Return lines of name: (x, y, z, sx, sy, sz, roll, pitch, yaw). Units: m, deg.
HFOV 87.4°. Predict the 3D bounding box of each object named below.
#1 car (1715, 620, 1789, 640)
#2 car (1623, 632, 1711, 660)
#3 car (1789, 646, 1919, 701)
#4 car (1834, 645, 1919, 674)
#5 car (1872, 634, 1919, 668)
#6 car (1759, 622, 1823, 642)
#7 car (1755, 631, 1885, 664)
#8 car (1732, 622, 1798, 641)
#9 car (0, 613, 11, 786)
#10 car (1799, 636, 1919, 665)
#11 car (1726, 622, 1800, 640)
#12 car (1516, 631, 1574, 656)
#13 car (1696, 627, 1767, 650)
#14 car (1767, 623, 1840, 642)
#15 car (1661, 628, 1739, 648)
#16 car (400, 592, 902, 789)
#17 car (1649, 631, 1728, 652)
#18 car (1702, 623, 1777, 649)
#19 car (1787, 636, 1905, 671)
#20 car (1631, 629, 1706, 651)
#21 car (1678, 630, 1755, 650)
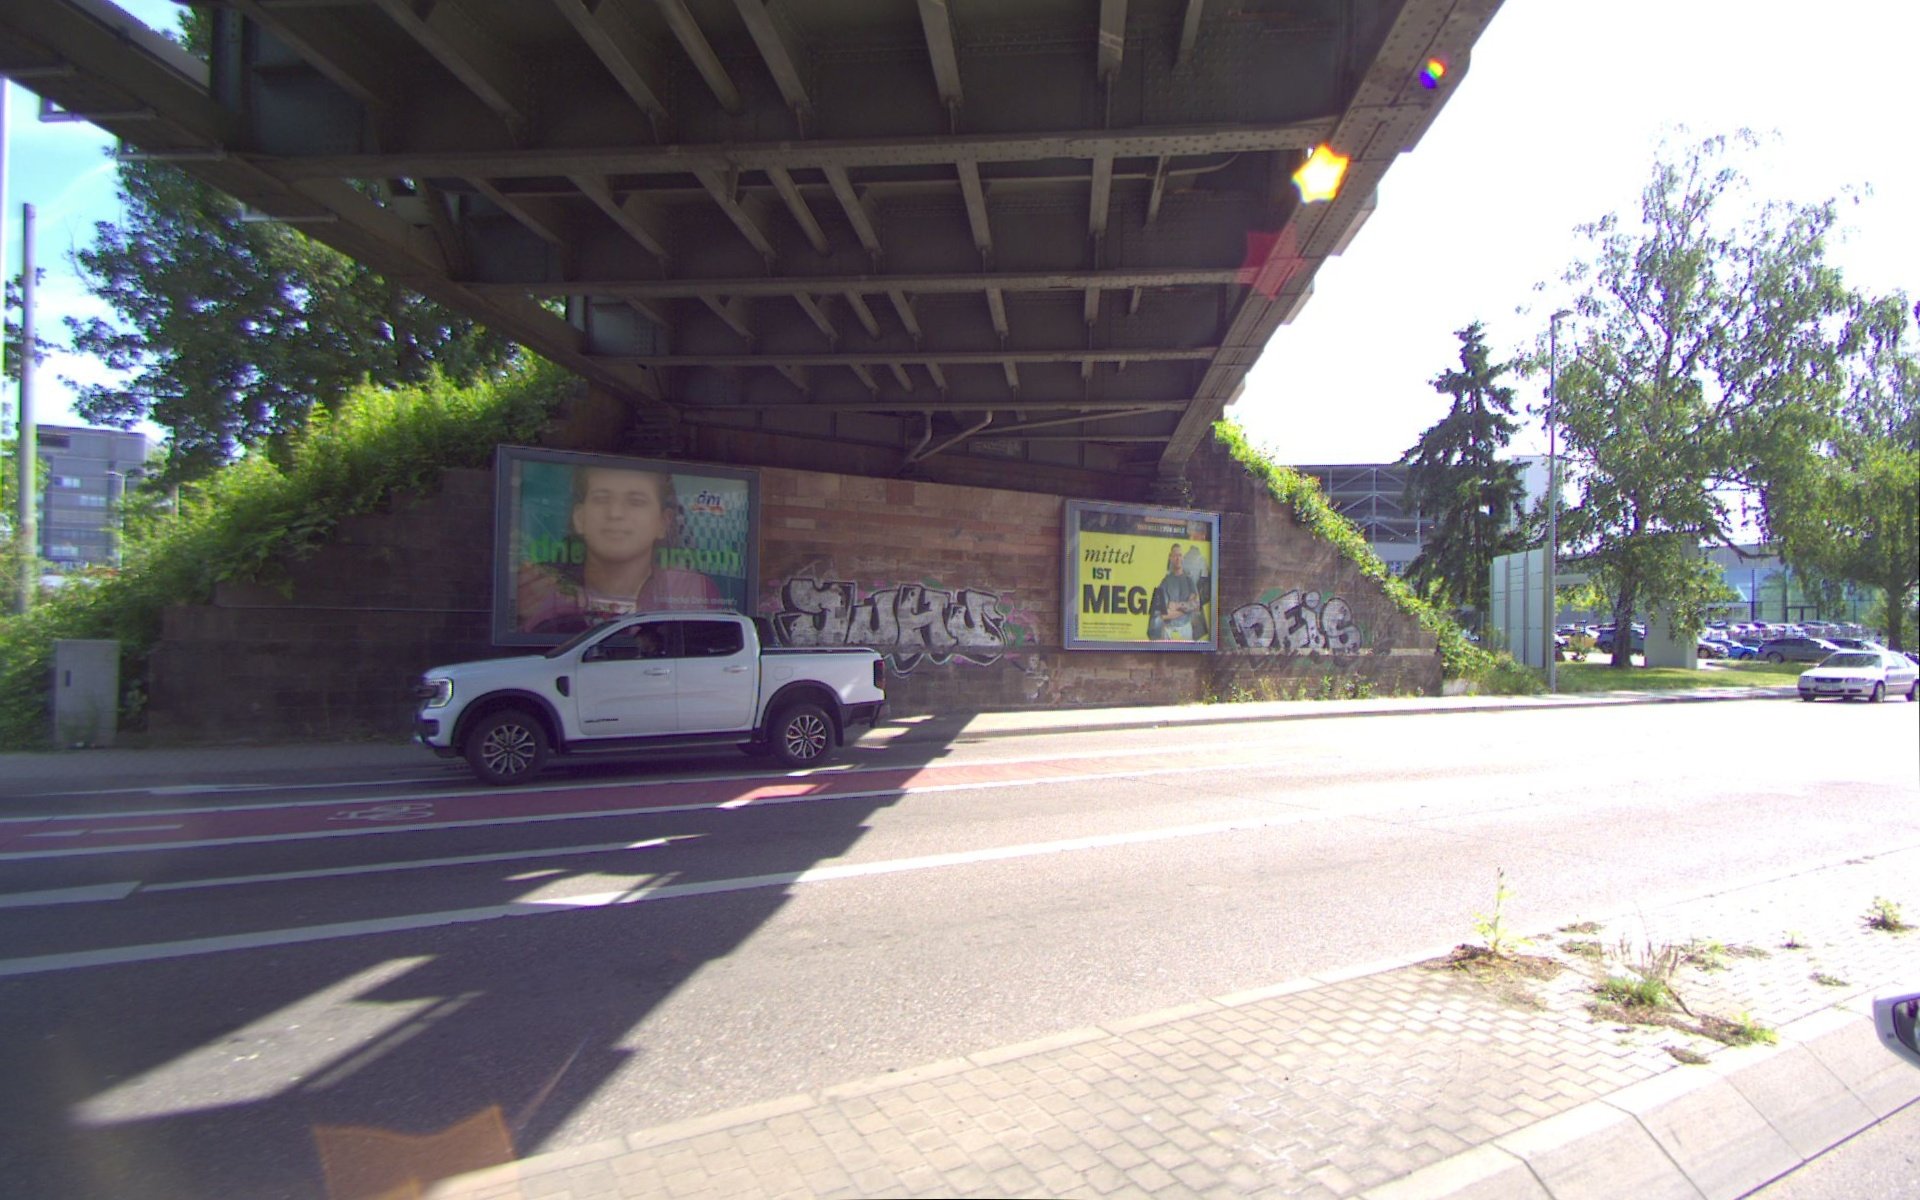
car: (65.850, 2.511, 83.622, 1.957, 1.571, 4.477, 2, -2, -31)
car: (45.380, 2.944, 64.551, 1.784, 1.585, 4.221, 2, 0, -30)
car: (24.859, 1.995, 27.740, 4.267, 1.406, 1.628, 2, -3, -30)
car: (50.703, 3.249, 55.194, 1.795, 1.389, 3.663, 2, -1, -29)
car: (57.187, 3.069, 59.358, 1.975, 1.900, 4.445, 2, 0, -28)
car: (72.149, 2.774, 87.219, 1.648, 1.515, 3.969, 2, 0, -29)
car: (43.793, 2.394, 51.281, 1.976, 1.408, 4.666, 2, -1, -29)
car: (68.510, 2.662, 85.547, 2.027, 1.515, 3.969, 2, -1, -29)
car: (-10.438, 0.844, 7.604, 4.336, 1.617, 1.864, 2, -2, -30)
car: (48.779, 2.713, 54.326, 1.976, 1.285, 4.829, 2, -1, -29)
car: (67.668, 2.619, 84.719, 1.957, 1.504, 4.477, 2, -2, -31)
car: (39.434, 2.915, 67.813, 1.628, 1.567, 4.037, 2, -1, 1)
car: (61.755, 3.086, 80.462, 1.646, 1.727, 4.247, 2, -2, -31)
car: (74.165, 2.846, 88.390, 1.962, 1.515, 4.499, 2, -1, -29)
car: (57.258, 2.921, 77.756, 1.957, 1.504, 4.477, 2, -2, -31)
car: (-3.519, 1.004, 11.898, 5.387, 1.885, 1.985, 2, -4, -30)
car: (55.422, 3.148, 76.515, 1.869, 1.437, 4.476, 2, -1, -31)
car: (63.684, 2.921, 82.125, 1.957, 1.988, 4.477, 2, -2, -31)
car: (45.909, 2.768, 52.139, 1.976, 1.567, 4.195, 2, 0, -29)
car: (52.830, 2.973, 74.971, 1.978, 1.496, 4.178, 2, -1, -32)
car: (59.392, 3.139, 78.948, 1.957, 1.504, 4.477, 2, -2, -31)
